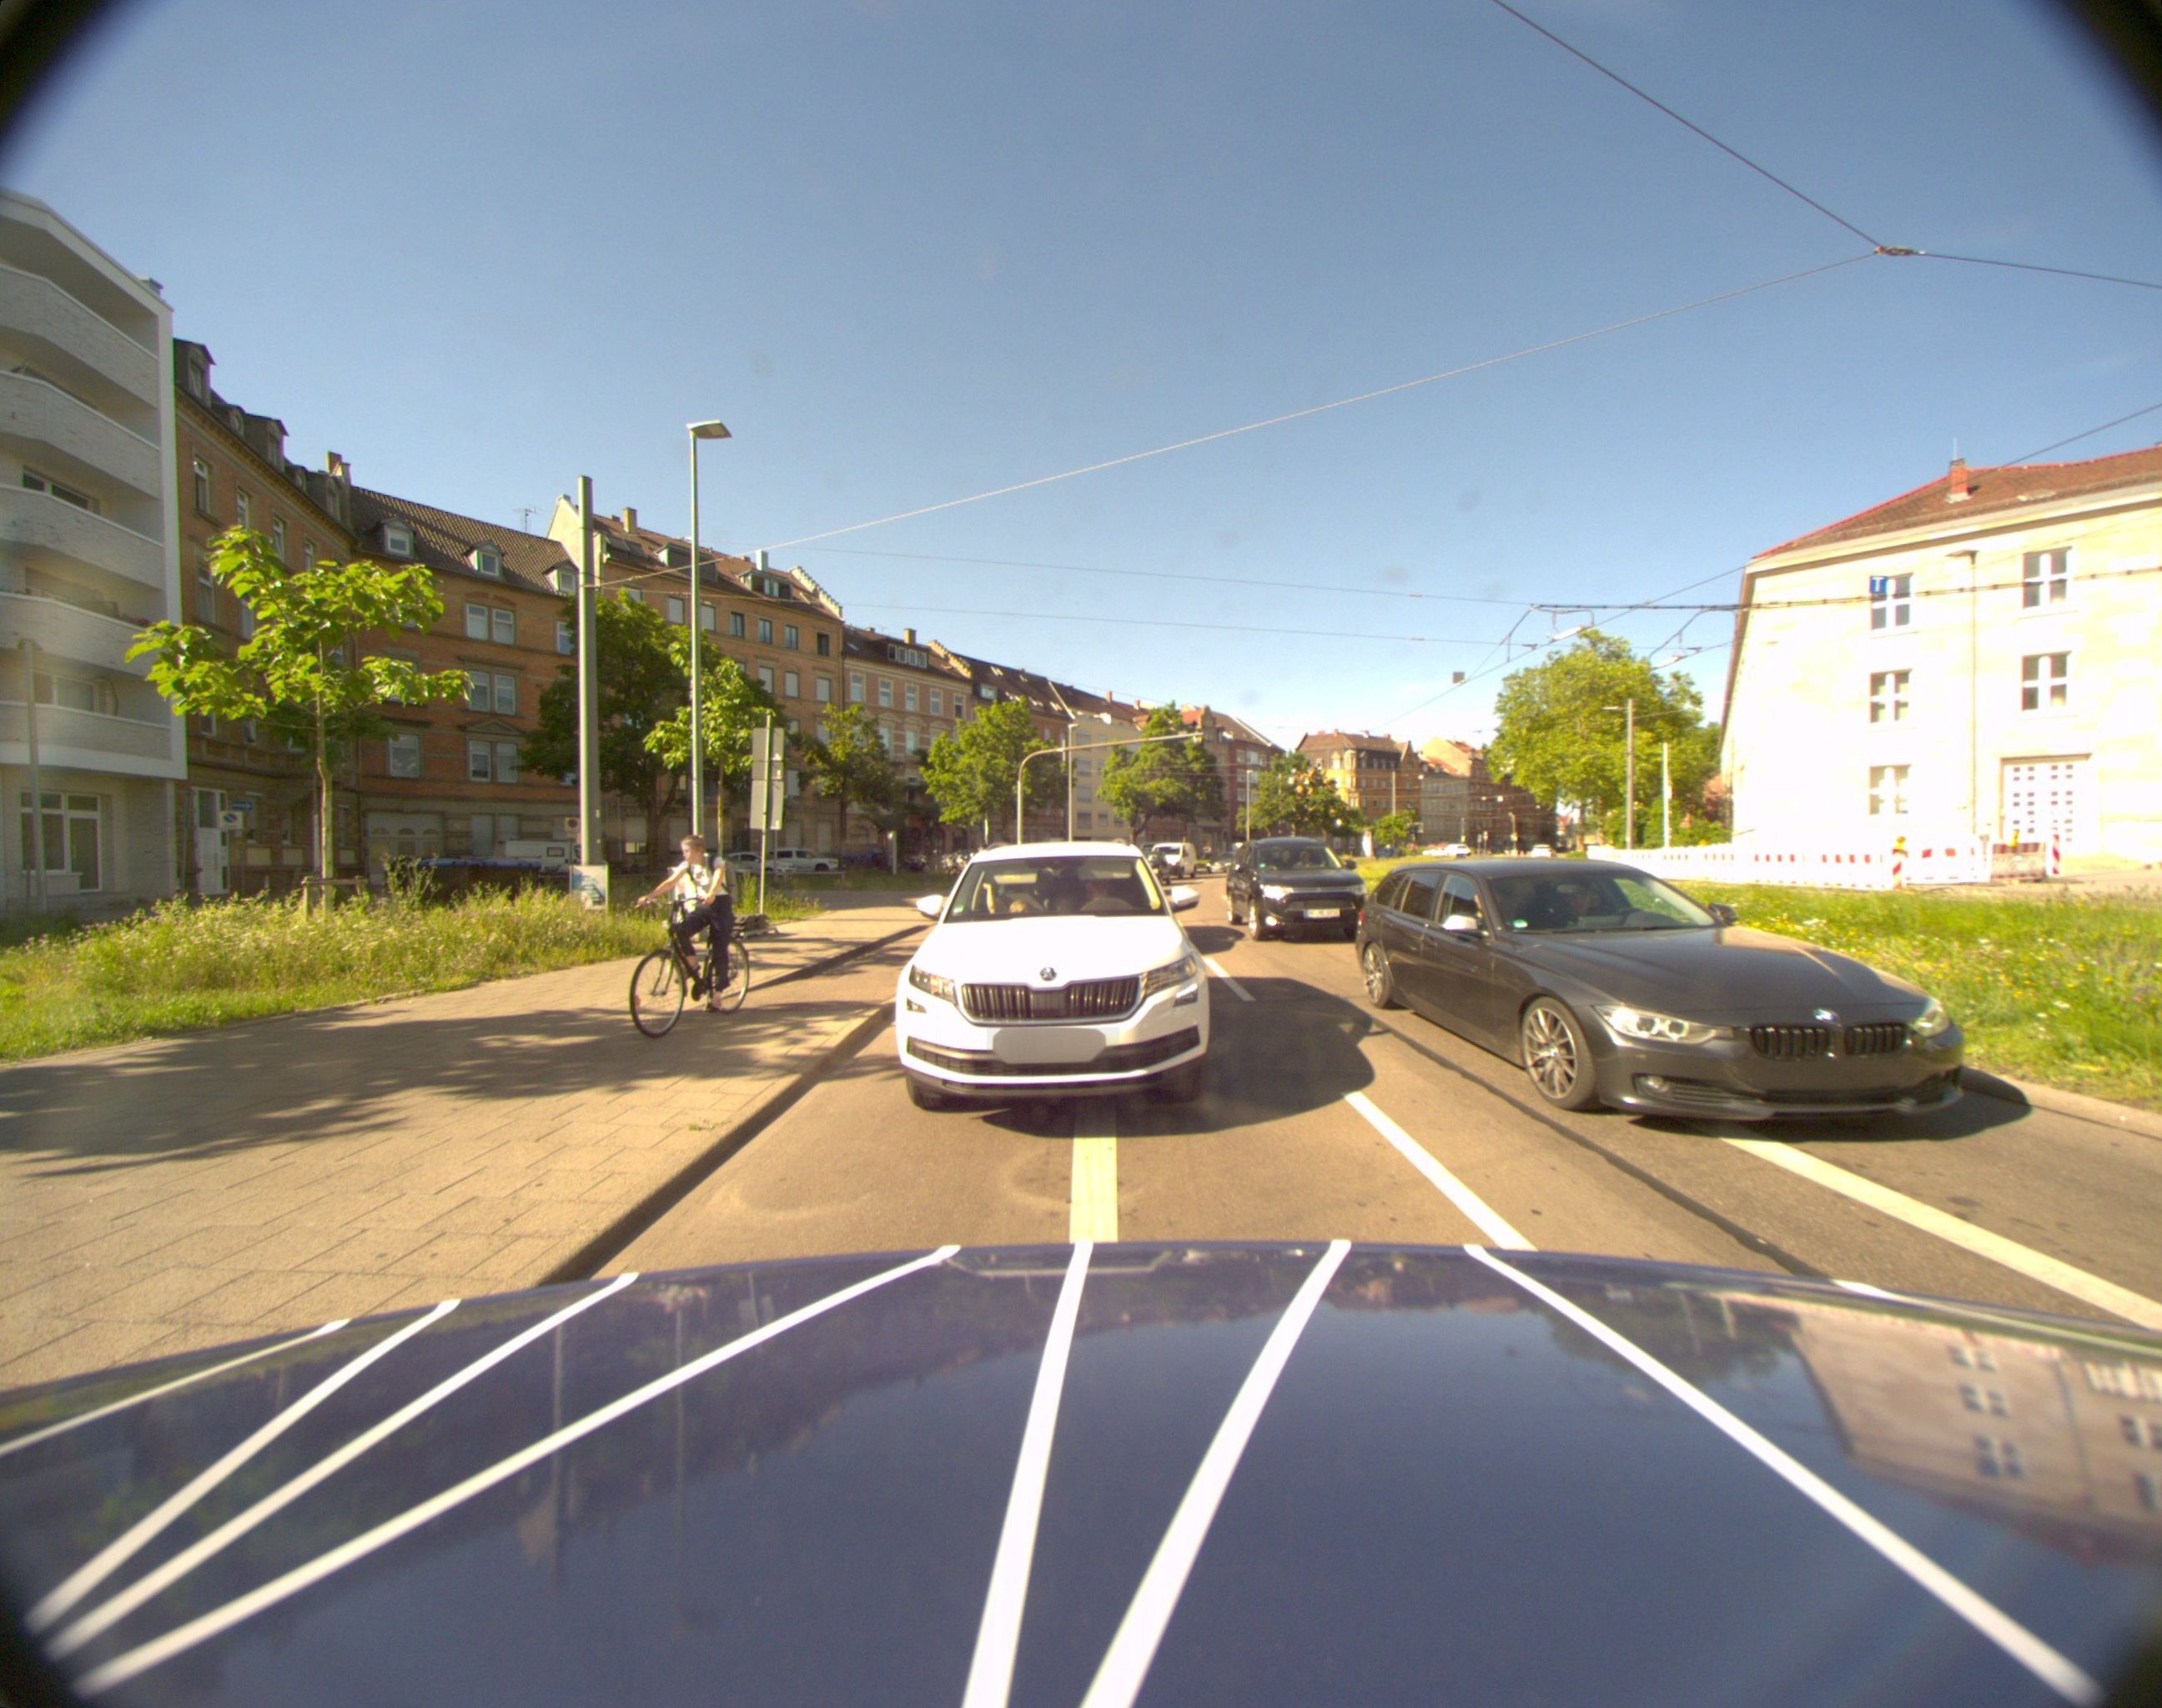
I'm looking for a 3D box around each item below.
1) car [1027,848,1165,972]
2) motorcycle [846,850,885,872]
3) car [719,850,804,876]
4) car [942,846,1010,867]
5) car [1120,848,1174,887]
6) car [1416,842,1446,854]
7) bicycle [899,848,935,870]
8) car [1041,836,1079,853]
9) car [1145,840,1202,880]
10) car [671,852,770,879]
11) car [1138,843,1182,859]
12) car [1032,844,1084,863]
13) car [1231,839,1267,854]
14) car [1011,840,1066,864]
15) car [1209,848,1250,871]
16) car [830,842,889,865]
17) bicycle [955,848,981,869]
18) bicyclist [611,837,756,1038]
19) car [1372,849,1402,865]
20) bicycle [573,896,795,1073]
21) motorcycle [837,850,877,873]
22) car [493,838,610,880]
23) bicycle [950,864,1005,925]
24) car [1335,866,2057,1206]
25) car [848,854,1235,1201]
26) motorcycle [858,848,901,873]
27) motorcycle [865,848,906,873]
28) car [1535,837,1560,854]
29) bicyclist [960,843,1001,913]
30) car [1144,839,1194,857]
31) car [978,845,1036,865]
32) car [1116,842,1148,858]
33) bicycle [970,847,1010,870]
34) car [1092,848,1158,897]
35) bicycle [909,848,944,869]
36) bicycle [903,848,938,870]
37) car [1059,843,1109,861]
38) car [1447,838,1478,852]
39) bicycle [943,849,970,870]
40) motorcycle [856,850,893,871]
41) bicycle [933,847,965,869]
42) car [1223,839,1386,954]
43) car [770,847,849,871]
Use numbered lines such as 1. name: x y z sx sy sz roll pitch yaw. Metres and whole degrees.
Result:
1. car: 0.235 0.760 12.606 1.842 1.636 4.397 -2 0 1
2. motorcycle: -12.940 0.413 45.623 2.314 1.276 0.664 -2 1 24
3. car: -16.407 0.438 39.104 3.696 1.244 1.683 0 1 13
4. car: -7.042 0.173 51.293 4.322 1.398 1.682 0 1 3
5. car: 3.099 0.556 34.766 1.837 1.637 4.152 0 1 14
6. car: 54.387 -0.956 117.978 3.989 1.641 1.866 -2 1 31
7. bicycle: -9.742 0.304 45.068 2.198 1.260 0.664 -2 1 30
8. car: -1.939 -0.945 71.663 1.547 1.578 3.607 1 2 41
9. car: 5.173 0.248 41.931 1.979 2.074 4.720 0 1 22
10. car: -17.499 0.532 36.905 4.156 1.244 1.683 0 1 13
11. car: 7.127 -0.251 68.177 3.823 1.372 1.600 0 1 9
12. car: -1.775 -0.056 58.710 3.823 1.398 1.600 0 1 6
13. car: 18.695 -0.823 84.656 3.823 1.581 1.600 0 1 6
14. car: -3.107 -0.139 56.102 3.825 1.698 1.682 0 1 3
15. car: 10.447 0.370 53.247 1.836 1.464 4.720 0 1 23
16. car: -15.610 -0.059 53.669 1.547 1.578 3.709 1 2 41
17. bicycle: -7.122 0.306 47.752 0.664 1.260 2.199 -3 1 -36
18. bicyclist: -3.430 0.676 6.644 0.668 1.619 0.972 -1 1 5
19. car: 33.740 0.302 83.685 1.835 1.637 4.157 1 2 40
20. bicycle: -3.396 1.041 6.792 0.668 1.190 2.155 -1 1 5
21. motorcycle: -13.289 0.436 45.017 2.314 1.270 0.664 -2 1 24
22. car: -27.117 0.215 39.008 2.047 2.026 4.510 1 2 41
23. bicycle: -2.490 0.945 18.593 0.736 1.353 2.076 -1 1 9
24. car: 3.478 0.848 5.592 1.741 1.359 4.426 -2 0 1
25. car: -0.228 0.853 5.948 1.842 1.636 4.397 -2 0 -1
26. motorcycle: -11.178 0.372 42.205 2.200 1.322 0.663 -2 1 13
27. motorcycle: -11.148 0.355 43.291 2.200 1.315 0.664 -2 1 18
28. car: 47.406 -0.903 77.179 1.820 1.636 4.190 -1 0 36
29. bicyclist: -2.457 0.577 18.702 0.735 1.685 0.972 -1 1 9
30. car: 8.198 -0.591 70.607 4.578 1.658 1.600 0 1 7
31. car: -5.226 0.085 53.963 3.822 1.398 1.683 0 1 9
32. car: 5.469 -0.425 80.726 1.547 1.578 3.607 1 2 41
33. bicycle: -5.475 0.265 45.737 2.207 1.260 0.662 -3 1 -25
34. car: 1.644 0.597 26.955 1.838 1.543 4.151 0 1 10
35. bicycle: -9.510 0.277 46.710 2.198 1.260 0.664 -2 1 32
36. bicycle: -9.706 0.293 46.007 2.198 1.260 0.664 -2 1 32
37. car: 0.261 -0.162 61.163 3.823 1.398 1.600 0 1 6
38. car: 54.223 -1.226 108.121 1.999 1.864 4.589 -2 1 -2
39. bicycle: -7.685 0.339 46.758 0.664 1.260 2.199 -3 1 -36
40. motorcycle: -12.602 0.399 46.402 2.199 1.260 0.664 -2 1 24
41. bicycle: -7.729 0.238 44.516 0.664 1.260 2.198 -3 1 -45
42. car: 3.697 0.624 13.396 1.841 1.636 4.399 -2 0 5
43. car: -14.680 0.254 41.193 3.700 1.244 1.540 0 1 2
